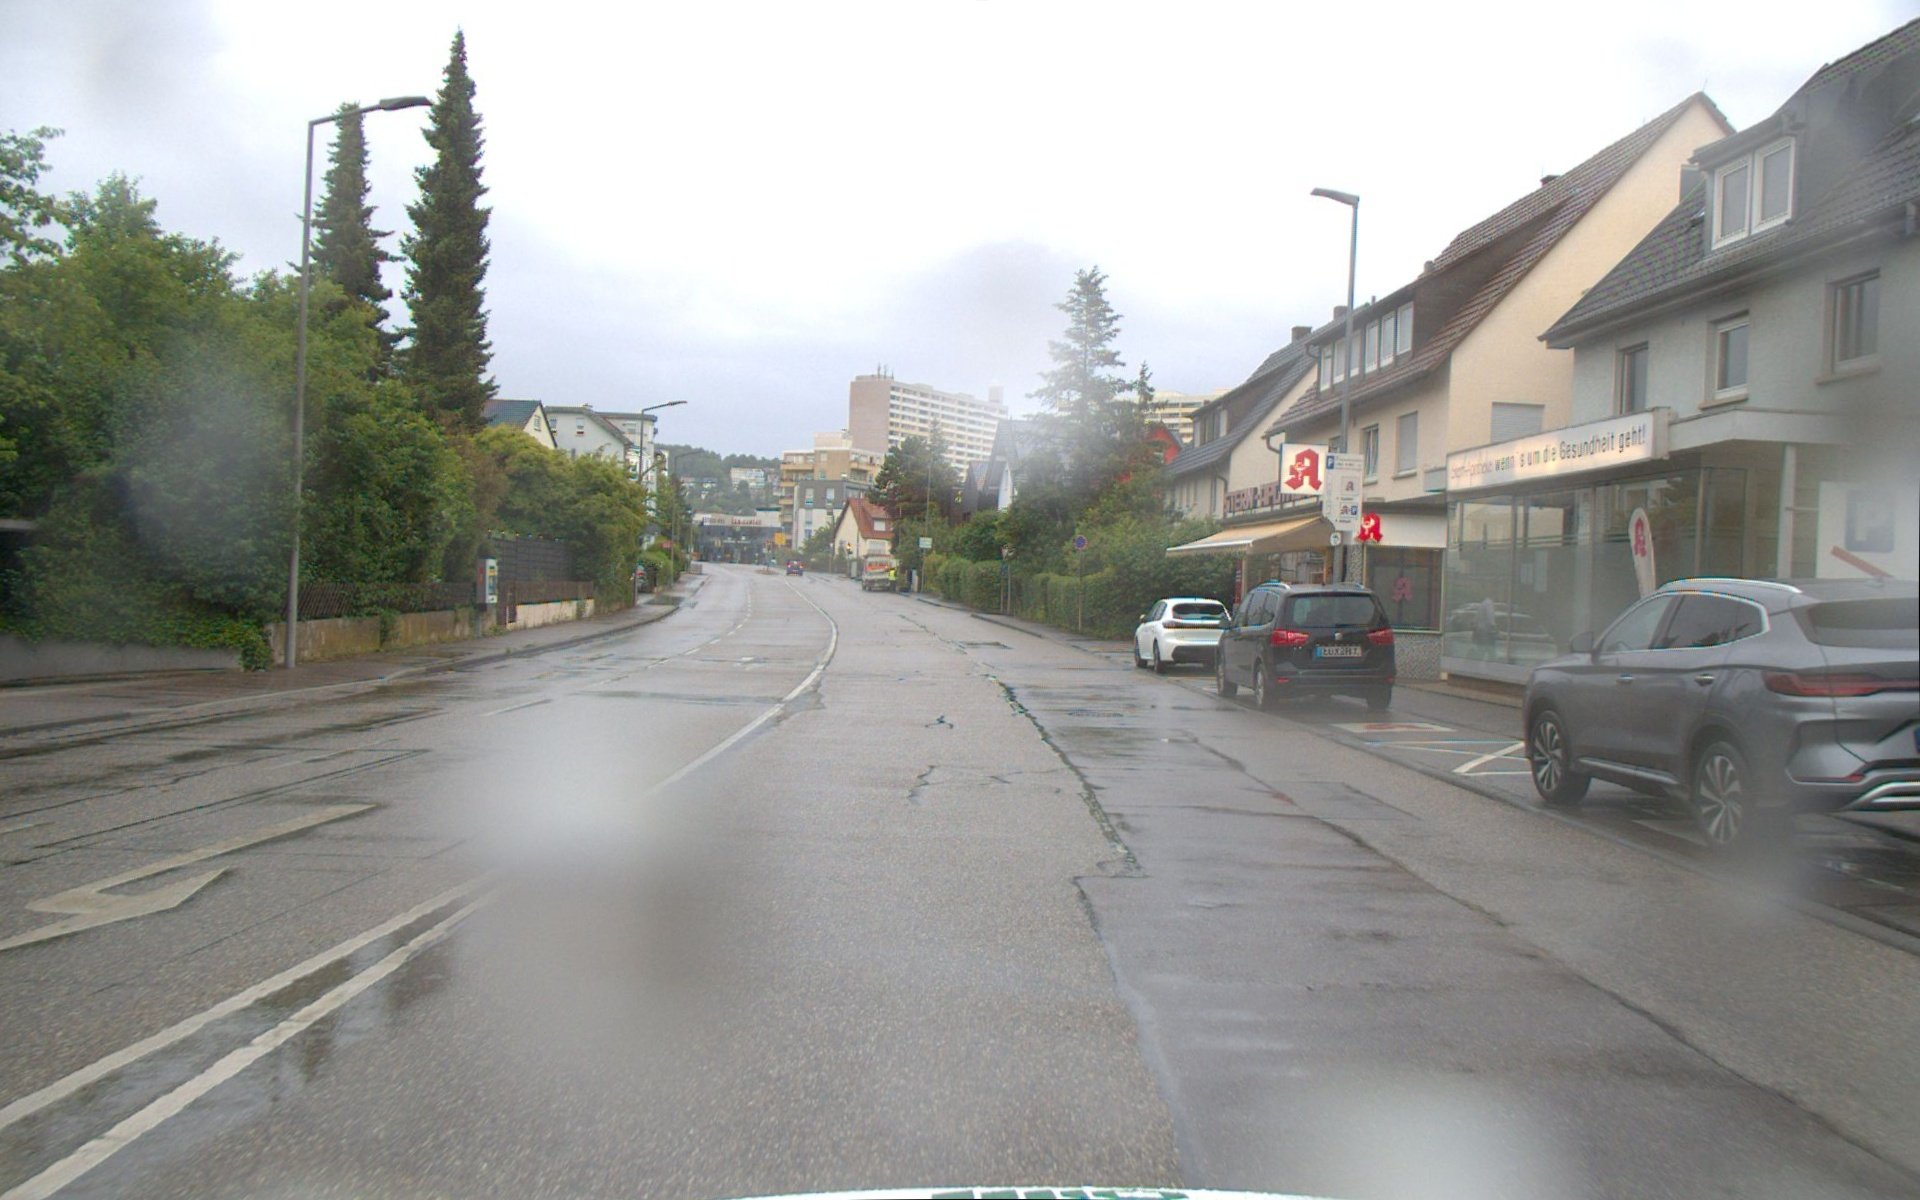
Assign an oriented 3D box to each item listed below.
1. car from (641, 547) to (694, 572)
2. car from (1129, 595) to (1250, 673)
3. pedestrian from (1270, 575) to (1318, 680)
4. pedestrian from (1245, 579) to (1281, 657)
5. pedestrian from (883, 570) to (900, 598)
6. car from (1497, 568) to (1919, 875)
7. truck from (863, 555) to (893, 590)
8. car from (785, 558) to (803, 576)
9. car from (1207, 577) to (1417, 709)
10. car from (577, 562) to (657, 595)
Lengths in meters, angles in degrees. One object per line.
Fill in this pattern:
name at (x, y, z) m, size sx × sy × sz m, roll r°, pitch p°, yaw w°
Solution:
car at (-27.634, -3.838, 156.226) m, size 4.427 × 2.048 × 2.002 m, roll 4°, pitch 1°, yaw 6°
car at (4.669, 0.658, 34.167) m, size 1.779 × 1.473 × 4.202 m, roll 0°, pitch 0°, yaw -2°
pedestrian at (6.214, 0.507, 30.758) m, size 0.611 × 1.924 × 0.645 m, roll 2°, pitch 0°, yaw 33°
pedestrian at (6.788, 0.398, 37.032) m, size 0.546 × 1.708 × 0.509 m, roll 2°, pitch 0°, yaw -39°
pedestrian at (-4.538, -1.041, 109.886) m, size 0.812 × 1.828 × 0.794 m, roll 1°, pitch 1°, yaw -25°
car at (5.501, 0.675, 11.451) m, size 1.837 × 1.671 × 4.790 m, roll 0°, pitch 0°, yaw -2°
truck at (-5.703, -1.922, 114.294) m, size 1.954 × 2.343 × 3.998 m, roll 2°, pitch 1°, yaw -3°
car at (-16.912, -3.337, 169.037) m, size 1.759 × 1.699 × 3.995 m, roll 1°, pitch 0°, yaw -5°
car at (4.985, 0.583, 24.169) m, size 1.994 × 1.725 × 4.962 m, roll 0°, pitch 0°, yaw 0°
car at (-18.958, -1.172, 91.473) m, size 3.902 × 1.715 × 1.810 m, roll 2°, pitch 0°, yaw 11°
